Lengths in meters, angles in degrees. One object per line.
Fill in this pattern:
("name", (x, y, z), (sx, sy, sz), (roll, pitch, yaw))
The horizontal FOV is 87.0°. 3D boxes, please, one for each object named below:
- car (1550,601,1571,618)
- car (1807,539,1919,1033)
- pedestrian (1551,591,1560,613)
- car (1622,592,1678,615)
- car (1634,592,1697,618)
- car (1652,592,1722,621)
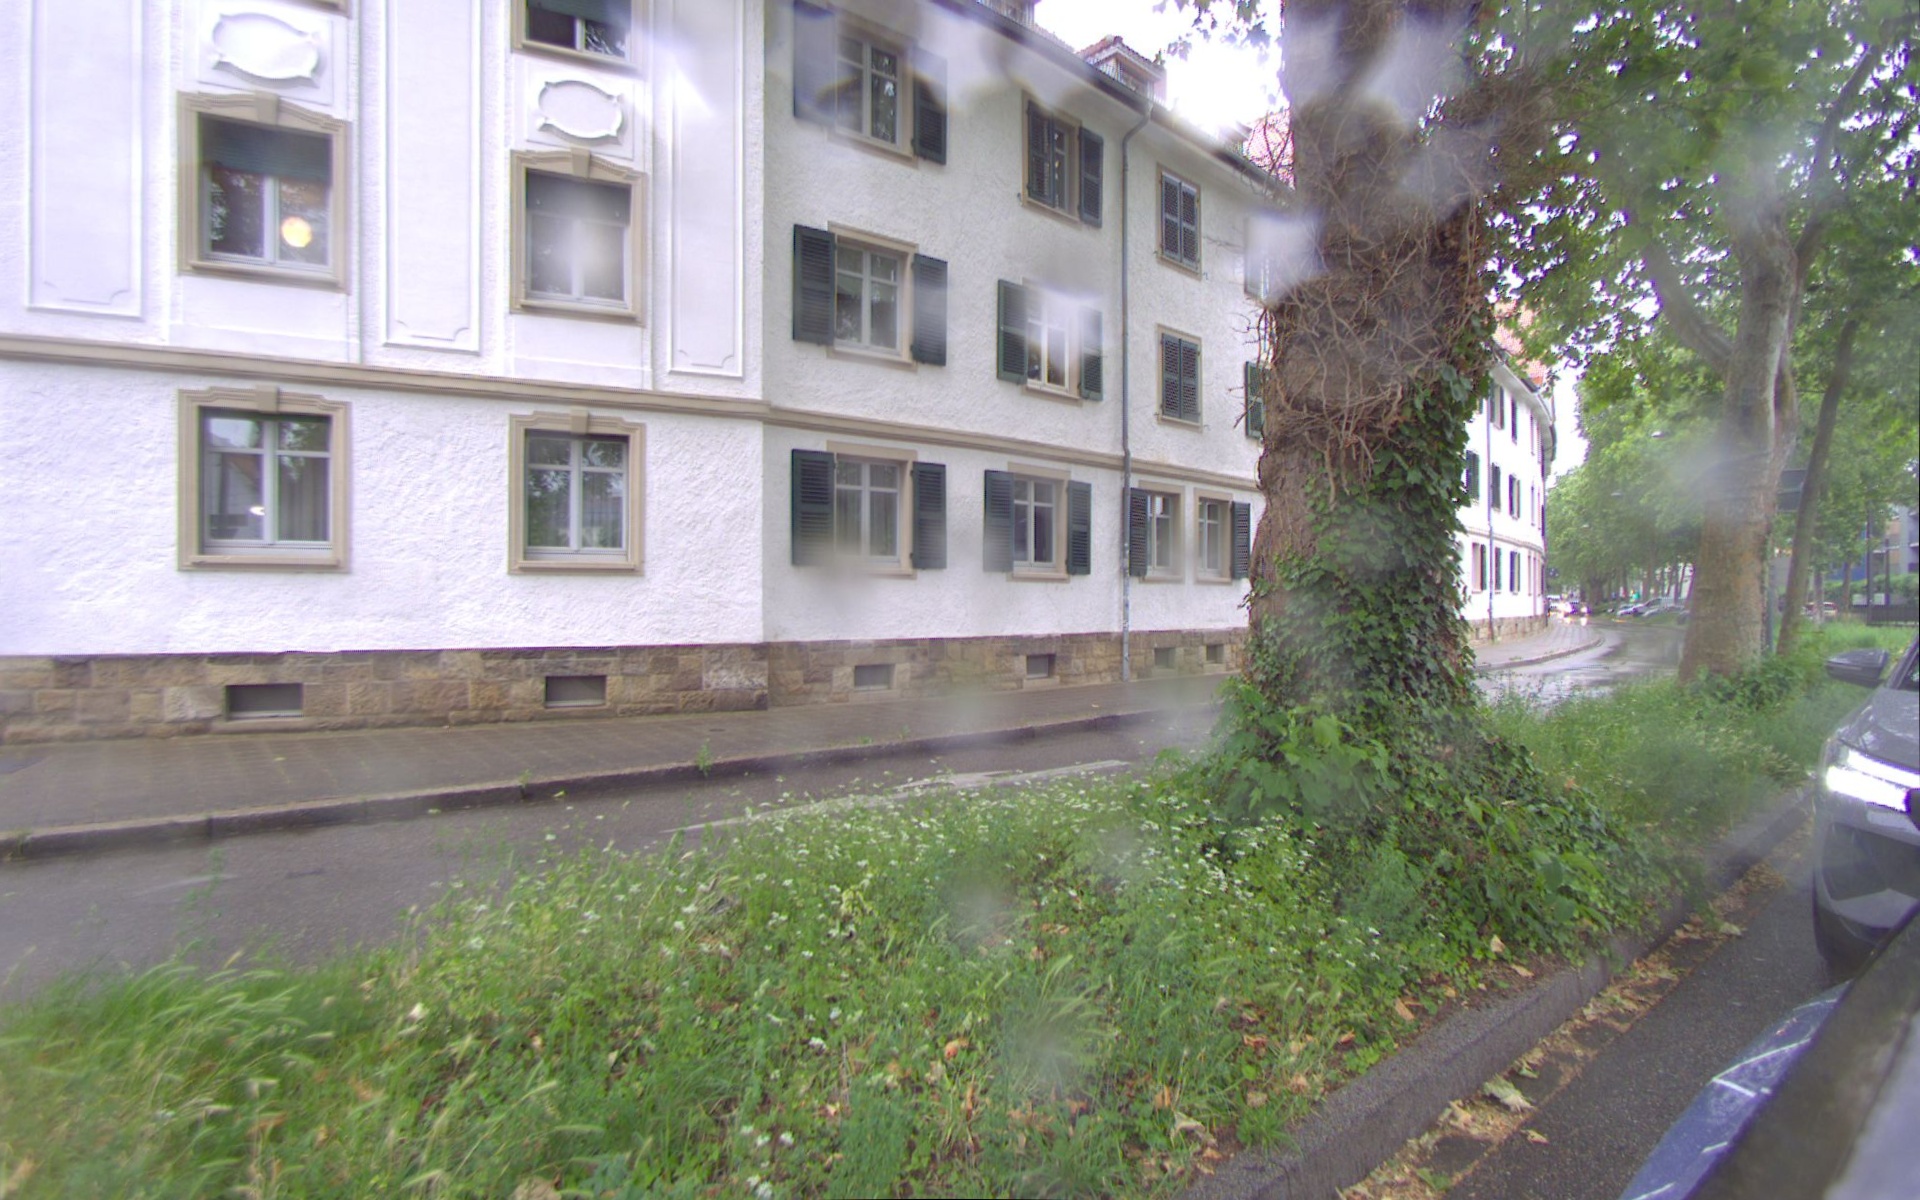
("car", (84.625, 1.358, 142.669), (2.175, 2.292, 5.362), (0, 0, 26))
("car", (5.146, 0.616, 4.317), (4.039, 1.662, 1.913), (0, 0, -44))
("pedestrian", (49.888, 0.165, 84.747), (0.668, 1.845, 0.672), (0, 0, 31))
("car", (60.780, 0.294, 89.281), (3.969, 2.039, 1.977), (0, -1, 32))
("car", (55.917, 0.393, 80.298), (3.969, 2.039, 1.977), (0, -1, 32))
("car", (52.650, 0.476, 73.393), (3.969, 2.039, 1.977), (0, -1, 32))
